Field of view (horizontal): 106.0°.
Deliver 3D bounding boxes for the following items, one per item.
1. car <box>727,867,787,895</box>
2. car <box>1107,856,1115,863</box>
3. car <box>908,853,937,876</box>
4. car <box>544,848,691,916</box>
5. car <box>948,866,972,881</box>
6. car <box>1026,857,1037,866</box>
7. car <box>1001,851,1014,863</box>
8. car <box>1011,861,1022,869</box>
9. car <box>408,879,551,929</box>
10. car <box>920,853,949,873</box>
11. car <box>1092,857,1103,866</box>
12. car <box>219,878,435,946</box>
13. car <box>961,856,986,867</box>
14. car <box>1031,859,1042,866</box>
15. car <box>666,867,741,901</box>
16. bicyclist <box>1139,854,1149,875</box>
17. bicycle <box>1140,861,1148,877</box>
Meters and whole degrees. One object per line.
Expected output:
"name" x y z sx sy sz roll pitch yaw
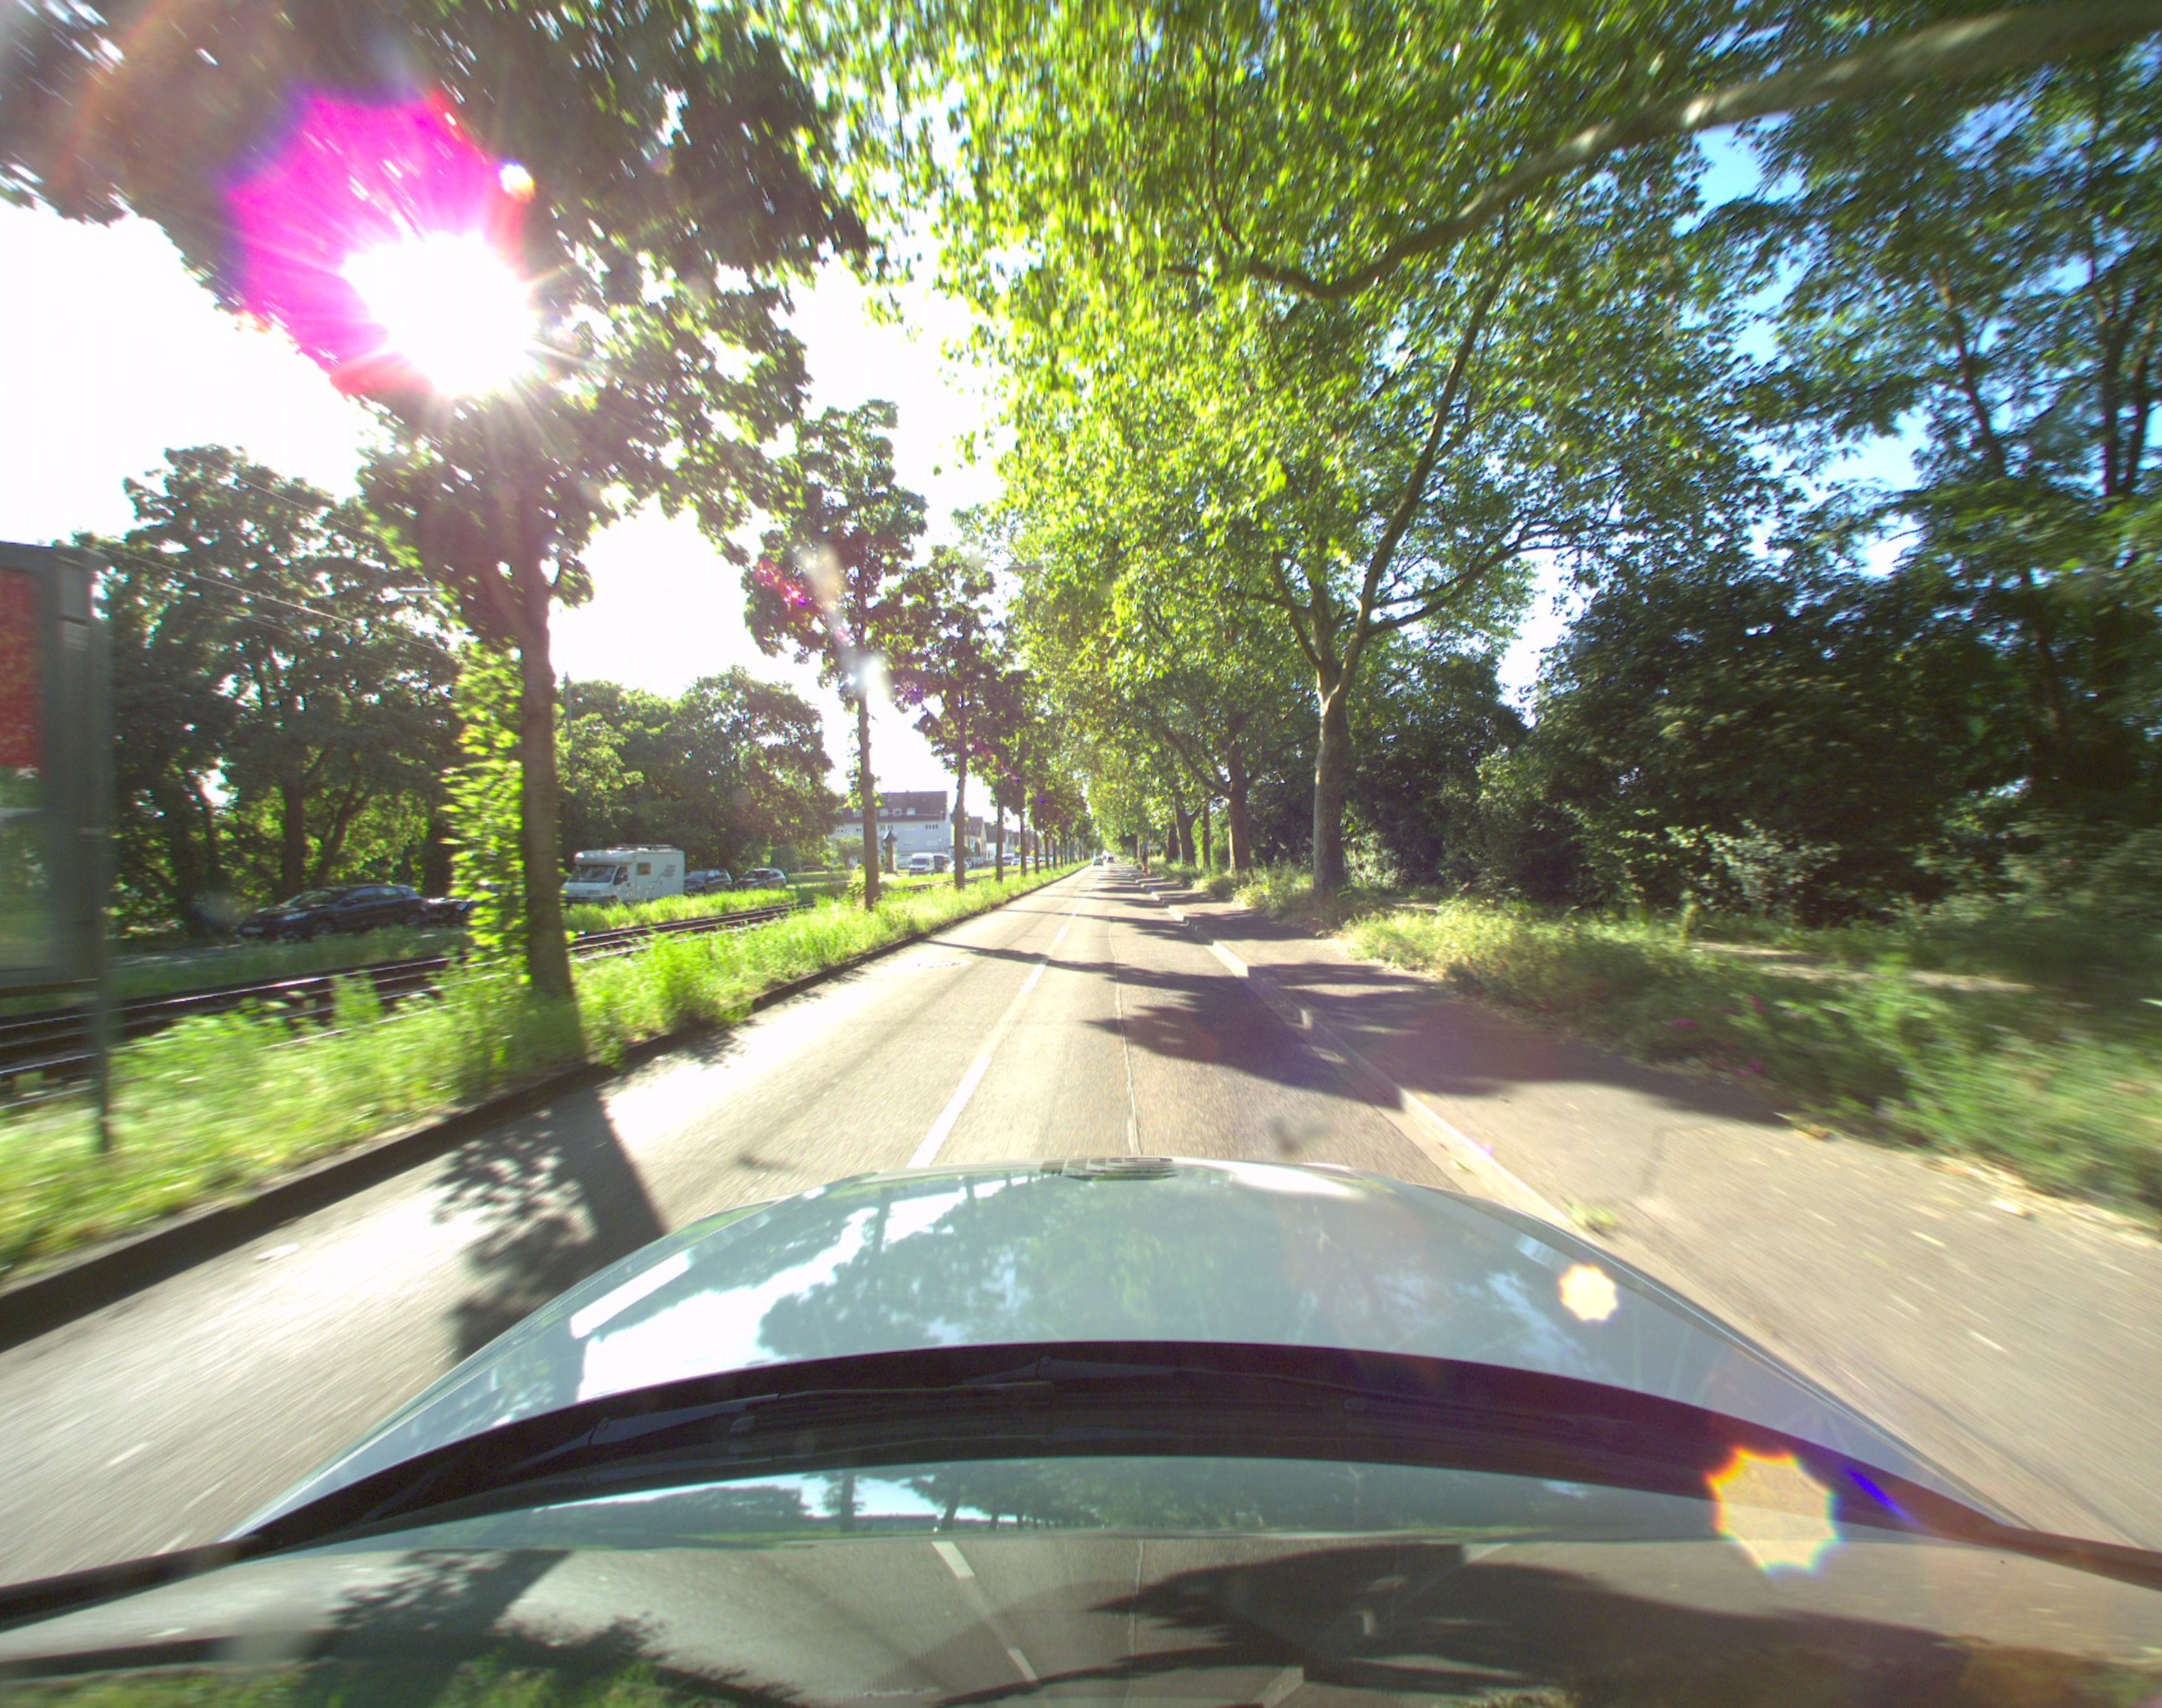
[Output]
"car" -19.276 1.571 48.669 1.667 1.584 4.252 -1 -1 4
"car" 6.868 1.252 186.690 1.754 1.513 3.279 -1 -1 3
"car" -17.889 1.165 92.193 1.994 2.496 6.139 -1 -1 1
"car" -19.596 1.072 34.982 2.217 2.580 6.802 -1 0 2
"car" -13.063 2.064 87.829 1.720 1.528 4.445 -1 -1 3
"car" -9.988 1.453 164.446 1.803 1.744 4.984 -1 -1 2
"car" -15.456 0.734 171.455 1.986 2.459 6.676 -1 -1 1
"car" -11.205 1.858 142.043 1.551 1.395 3.821 -1 -1 2
"car" -20.153 1.629 27.533 1.703 1.434 4.003 -1 -1 3
"car" -17.884 1.118 99.621 2.174 2.376 6.467 -1 -1 2
"car" 2.647 1.198 133.384 1.732 1.401 3.278 -1 -1 2
"car" -20.503 1.505 22.437 1.760 1.563 4.286 -1 -1 4
"car" -20.863 1.433 158.072 4.616 1.945 1.994 -1 0 -9
"car" -9.762 1.909 180.119 1.985 1.531 3.754 -2 0 3
"car" -19.459 1.485 42.195 1.616 1.622 4.534 -1 -1 2
"bicyclist" 4.836 0.797 62.605 0.611 1.628 0.910 -2 0 2
"bicycle" 4.833 1.144 62.620 0.438 1.153 1.824 -2 0 2
